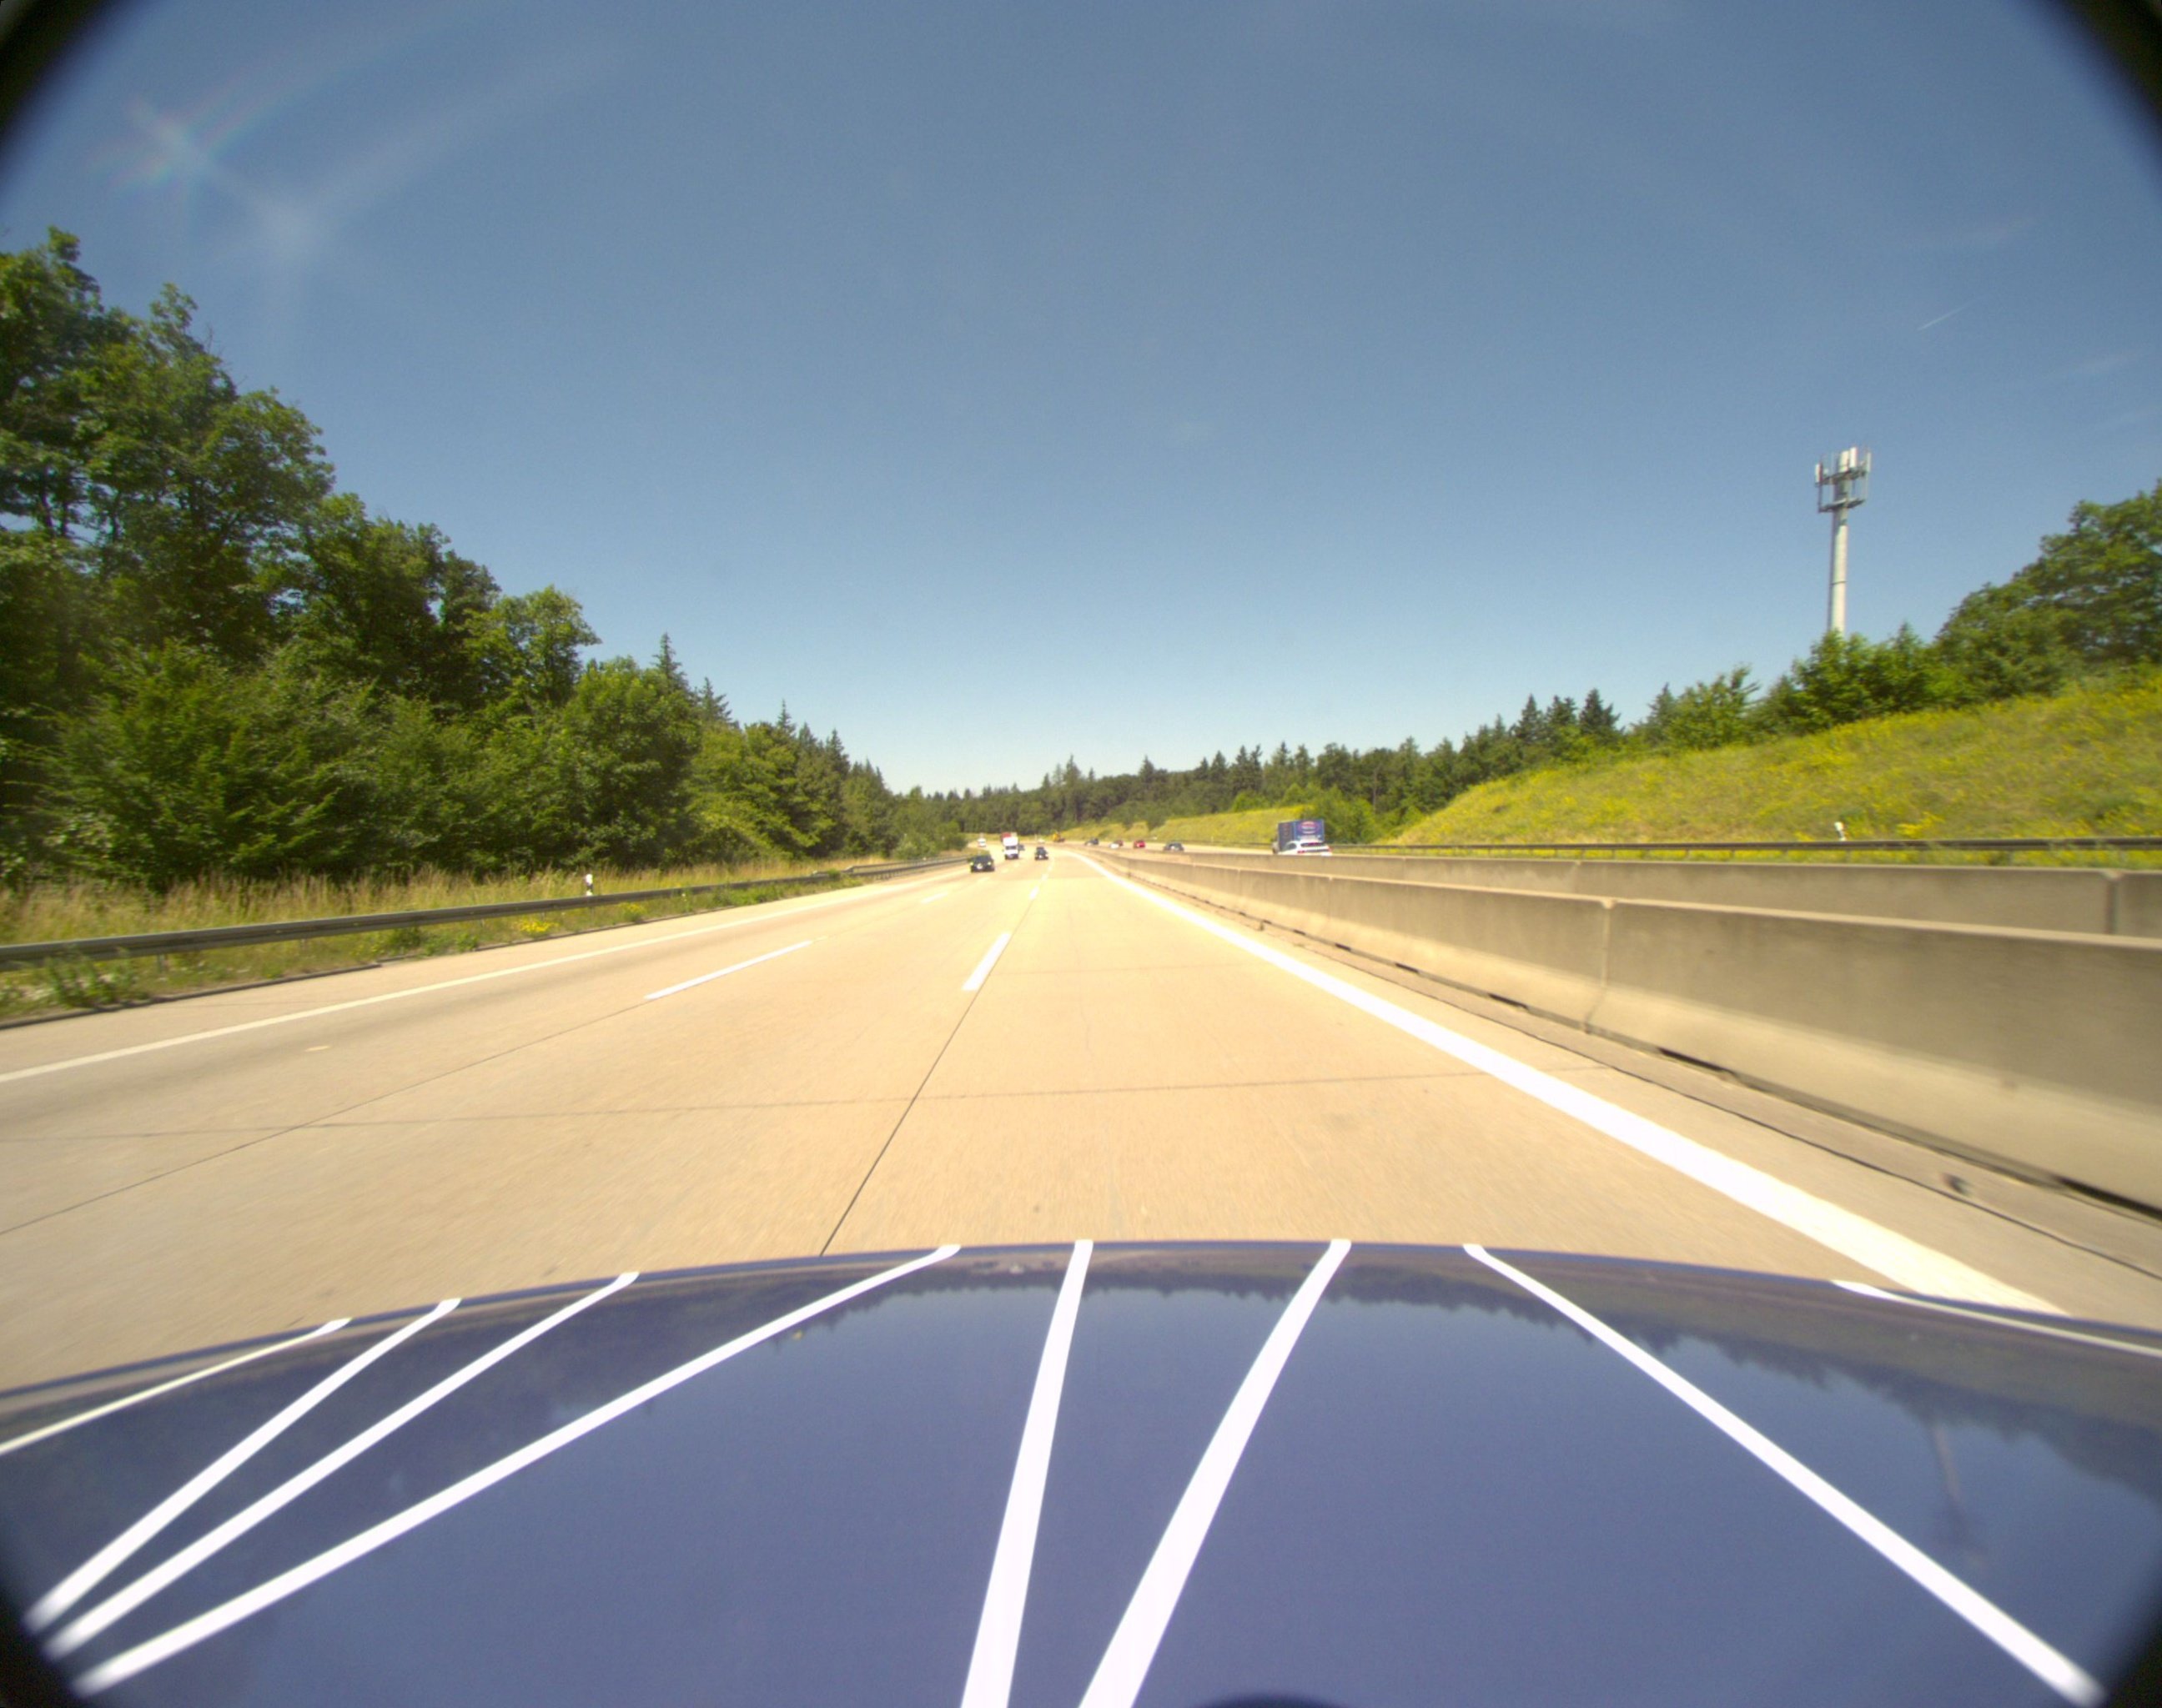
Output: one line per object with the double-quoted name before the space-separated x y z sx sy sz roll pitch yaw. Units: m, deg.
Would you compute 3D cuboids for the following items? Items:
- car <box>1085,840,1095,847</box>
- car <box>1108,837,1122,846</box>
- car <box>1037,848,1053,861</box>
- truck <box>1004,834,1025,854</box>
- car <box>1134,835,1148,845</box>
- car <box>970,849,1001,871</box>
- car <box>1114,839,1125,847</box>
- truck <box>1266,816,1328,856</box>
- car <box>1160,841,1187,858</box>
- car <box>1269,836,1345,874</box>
"car" 2.212 -2.532 180.217 1.999 1.595 4.410 -3 1 -3
"car" 6.407 -2.304 143.450 1.999 1.595 4.410 -3 1 -3
"car" -4.934 0.023 103.561 1.999 1.694 4.397 -3 1 -4
"truck" -10.246 -1.527 117.279 2.484 2.779 5.914 -3 1 0
"car" 11.123 -2.605 140.590 1.999 1.595 4.410 -3 1 -3
"car" -8.070 0.483 64.485 1.931 1.694 4.399 -3 1 0
"car" 8.353 -2.348 165.892 1.999 1.595 4.410 -3 1 -3
"truck" 17.693 -1.416 62.849 2.569 2.972 7.833 -3 1 -1
"car" 9.612 -0.503 79.376 1.999 1.595 4.657 -3 1 -3
"car" 10.586 0.042 35.954 1.999 1.595 4.410 -3 1 -3
